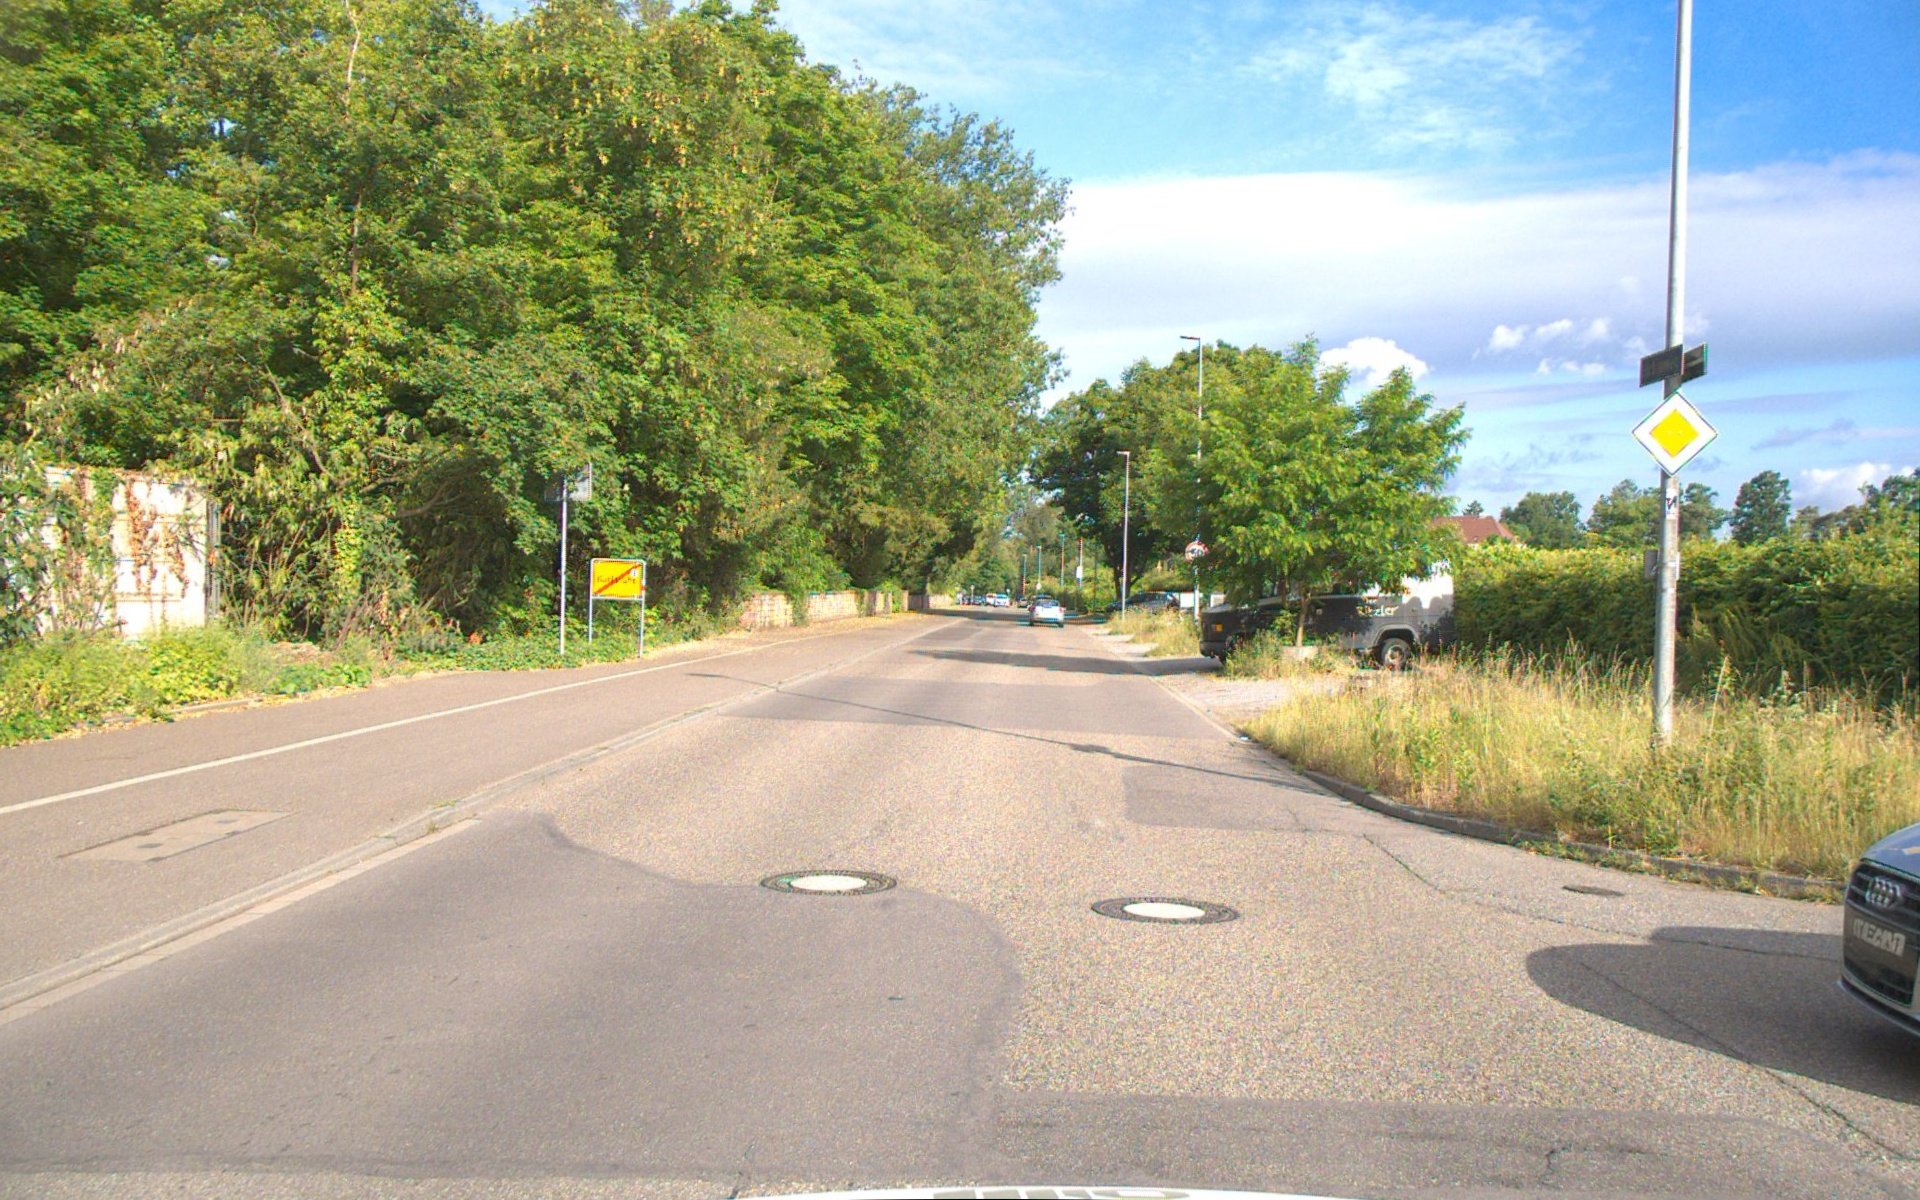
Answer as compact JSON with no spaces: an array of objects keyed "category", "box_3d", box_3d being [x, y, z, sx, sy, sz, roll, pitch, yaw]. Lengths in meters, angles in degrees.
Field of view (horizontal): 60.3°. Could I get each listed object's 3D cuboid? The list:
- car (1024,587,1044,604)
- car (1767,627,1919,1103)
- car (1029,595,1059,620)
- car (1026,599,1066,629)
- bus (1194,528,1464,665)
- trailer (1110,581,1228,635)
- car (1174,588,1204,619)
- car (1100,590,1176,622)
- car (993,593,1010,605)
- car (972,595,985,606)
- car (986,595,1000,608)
[{"category":"car","box_3d":[7.243,-0.452,162.103,1.847,1.641,4.055,1,1,1]},{"category":"car","box_3d":[5.221,0.858,5.401,4.269,1.468,1.934,0,0,9]},{"category":"car","box_3d":[5.399,0.474,106.882,1.847,1.490,4.055,1,1,1]},{"category":"car","box_3d":[4.225,0.674,81.822,1.847,1.396,4.055,1,1,1]},{"category":"bus","box_3d":[7.722,-0.092,35.007,5.255,2.794,2.068,0,1,-1]},{"category":"trailer","box_3d":[7.387,0.272,58.534,4.064,1.867,1.918,0,1,6]},{"category":"car","box_3d":[13.149,0.171,94.719,1.322,1.661,4.115,-1,1,13]},{"category":"car","box_3d":[10.389,0.341,96.764,4.311,1.675,2.001,-2,0,3]},{"category":"car","box_3d":[4.941,-0.133,197.766,1.848,1.396,4.055,1,1,0]},{"category":"car","box_3d":[2.897,0.090,255.262,1.847,1.641,4.055,1,1,1]},{"category":"car","box_3d":[4.515,0.210,228.361,1.847,1.641,4.055,1,1,1]}]
